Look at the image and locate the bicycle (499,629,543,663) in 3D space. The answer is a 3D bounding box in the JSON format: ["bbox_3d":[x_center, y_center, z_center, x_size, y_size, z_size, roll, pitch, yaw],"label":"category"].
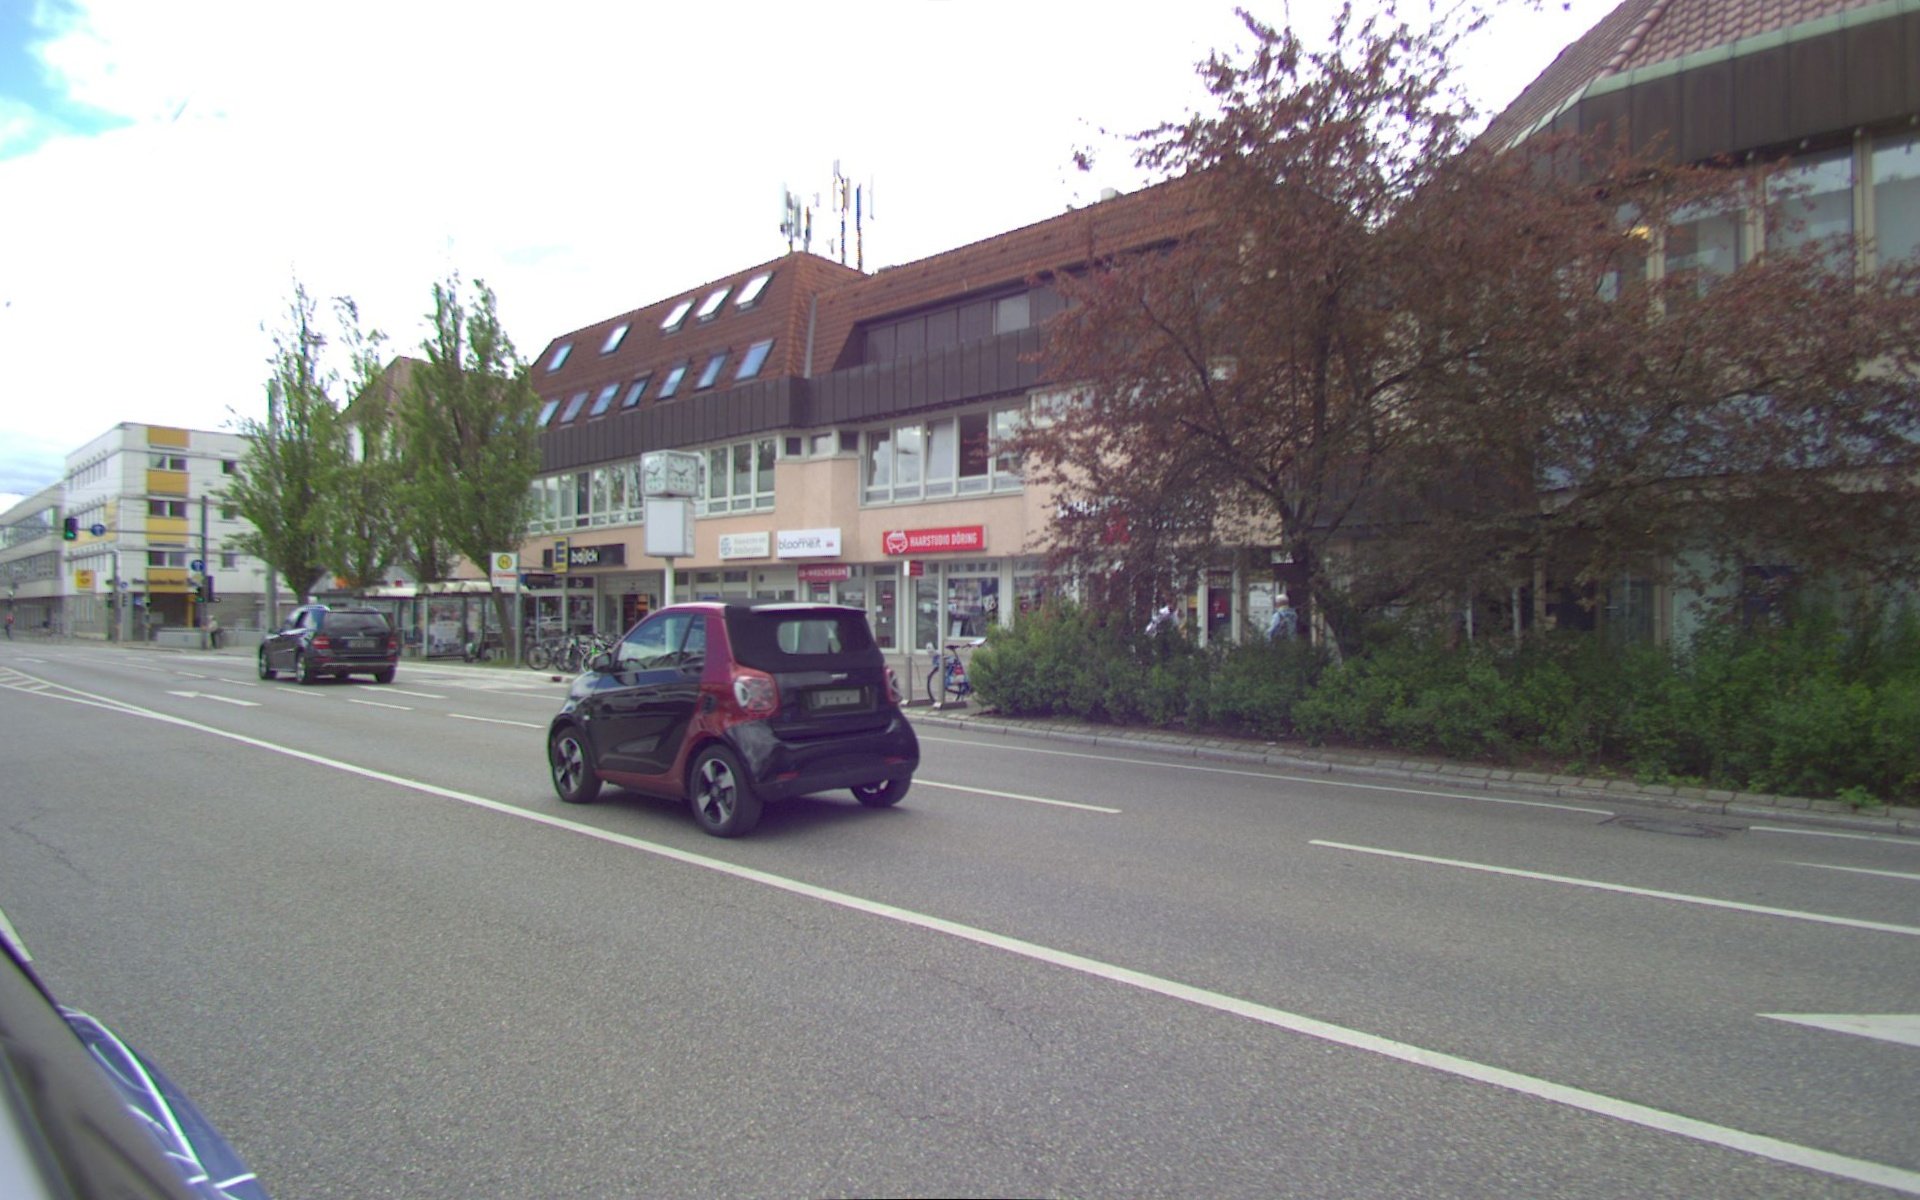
[{"bbox_3d":[-14.928,1.550,34.373,1.929,1.098,0.528,-1,-1,39],"label":"bicycle"}]

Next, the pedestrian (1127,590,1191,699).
[{"bbox_3d":[3.384,0.736,17.212,0.754,1.777,0.719,-2,1,39],"label":"pedestrian"}]

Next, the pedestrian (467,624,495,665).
[{"bbox_3d":[-16.337,1.510,34.528,0.588,1.374,0.704,-3,-1,43],"label":"pedestrian"}]

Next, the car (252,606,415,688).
[{"bbox_3d":[-14.922,1.089,23.994,4.692,1.752,2.046,-1,-3,43],"label":"car"}]

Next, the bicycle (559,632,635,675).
[{"bbox_3d":[-9.888,1.432,27.616,0.647,1.098,2.003,-1,-1,31],"label":"bicycle"}]

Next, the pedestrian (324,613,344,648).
[{"bbox_3d":[-30.422,1.475,49.193,0.614,1.646,0.580,-2,1,39],"label":"pedestrian"}]

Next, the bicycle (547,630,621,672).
[{"bbox_3d":[-10.620,1.418,28.617,0.647,1.098,2.003,-1,-1,31],"label":"bicycle"}]

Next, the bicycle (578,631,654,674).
[{"bbox_3d":[-9.250,1.391,27.294,0.647,1.098,2.003,-1,-1,31],"label":"bicycle"}]

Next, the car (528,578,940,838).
[{"bbox_3d":[-1.769,0.691,7.615,2.958,1.552,1.554,-1,-3,41],"label":"car"}]

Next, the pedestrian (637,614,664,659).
[{"bbox_3d":[-10.921,1.276,35.714,0.587,1.559,0.704,-2,-1,40],"label":"pedestrian"}]

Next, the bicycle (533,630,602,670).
[{"bbox_3d":[-11.750,1.483,30.340,0.646,1.098,2.006,-1,-1,27],"label":"bicycle"}]

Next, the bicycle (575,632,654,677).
[{"bbox_3d":[-8.943,1.390,26.286,0.647,1.098,2.003,-1,-1,31],"label":"bicycle"}]

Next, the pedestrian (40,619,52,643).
[{"bbox_3d":[-73.448,2.490,81.345,0.526,1.816,0.580,-2,1,41],"label":"pedestrian"}]

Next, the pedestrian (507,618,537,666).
[{"bbox_3d":[-16.805,1.597,38.844,0.754,1.777,0.719,-2,1,39],"label":"pedestrian"}]

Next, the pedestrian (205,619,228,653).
[{"bbox_3d":[-37.209,1.800,50.660,0.612,1.646,0.695,-2,1,30],"label":"pedestrian"}]

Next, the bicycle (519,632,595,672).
[{"bbox_3d":[-11.567,1.477,29.130,0.648,1.098,1.999,-1,-1,36],"label":"bicycle"}]

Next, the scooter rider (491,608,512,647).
[{"bbox_3d":[-20.554,1.239,45.355,0.587,1.725,0.607,-2,1,38],"label":"scooter rider"}]

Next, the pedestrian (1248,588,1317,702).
[{"bbox_3d":[5.288,0.717,16.578,0.717,1.777,0.756,-5,2,-45],"label":"pedestrian"}]
